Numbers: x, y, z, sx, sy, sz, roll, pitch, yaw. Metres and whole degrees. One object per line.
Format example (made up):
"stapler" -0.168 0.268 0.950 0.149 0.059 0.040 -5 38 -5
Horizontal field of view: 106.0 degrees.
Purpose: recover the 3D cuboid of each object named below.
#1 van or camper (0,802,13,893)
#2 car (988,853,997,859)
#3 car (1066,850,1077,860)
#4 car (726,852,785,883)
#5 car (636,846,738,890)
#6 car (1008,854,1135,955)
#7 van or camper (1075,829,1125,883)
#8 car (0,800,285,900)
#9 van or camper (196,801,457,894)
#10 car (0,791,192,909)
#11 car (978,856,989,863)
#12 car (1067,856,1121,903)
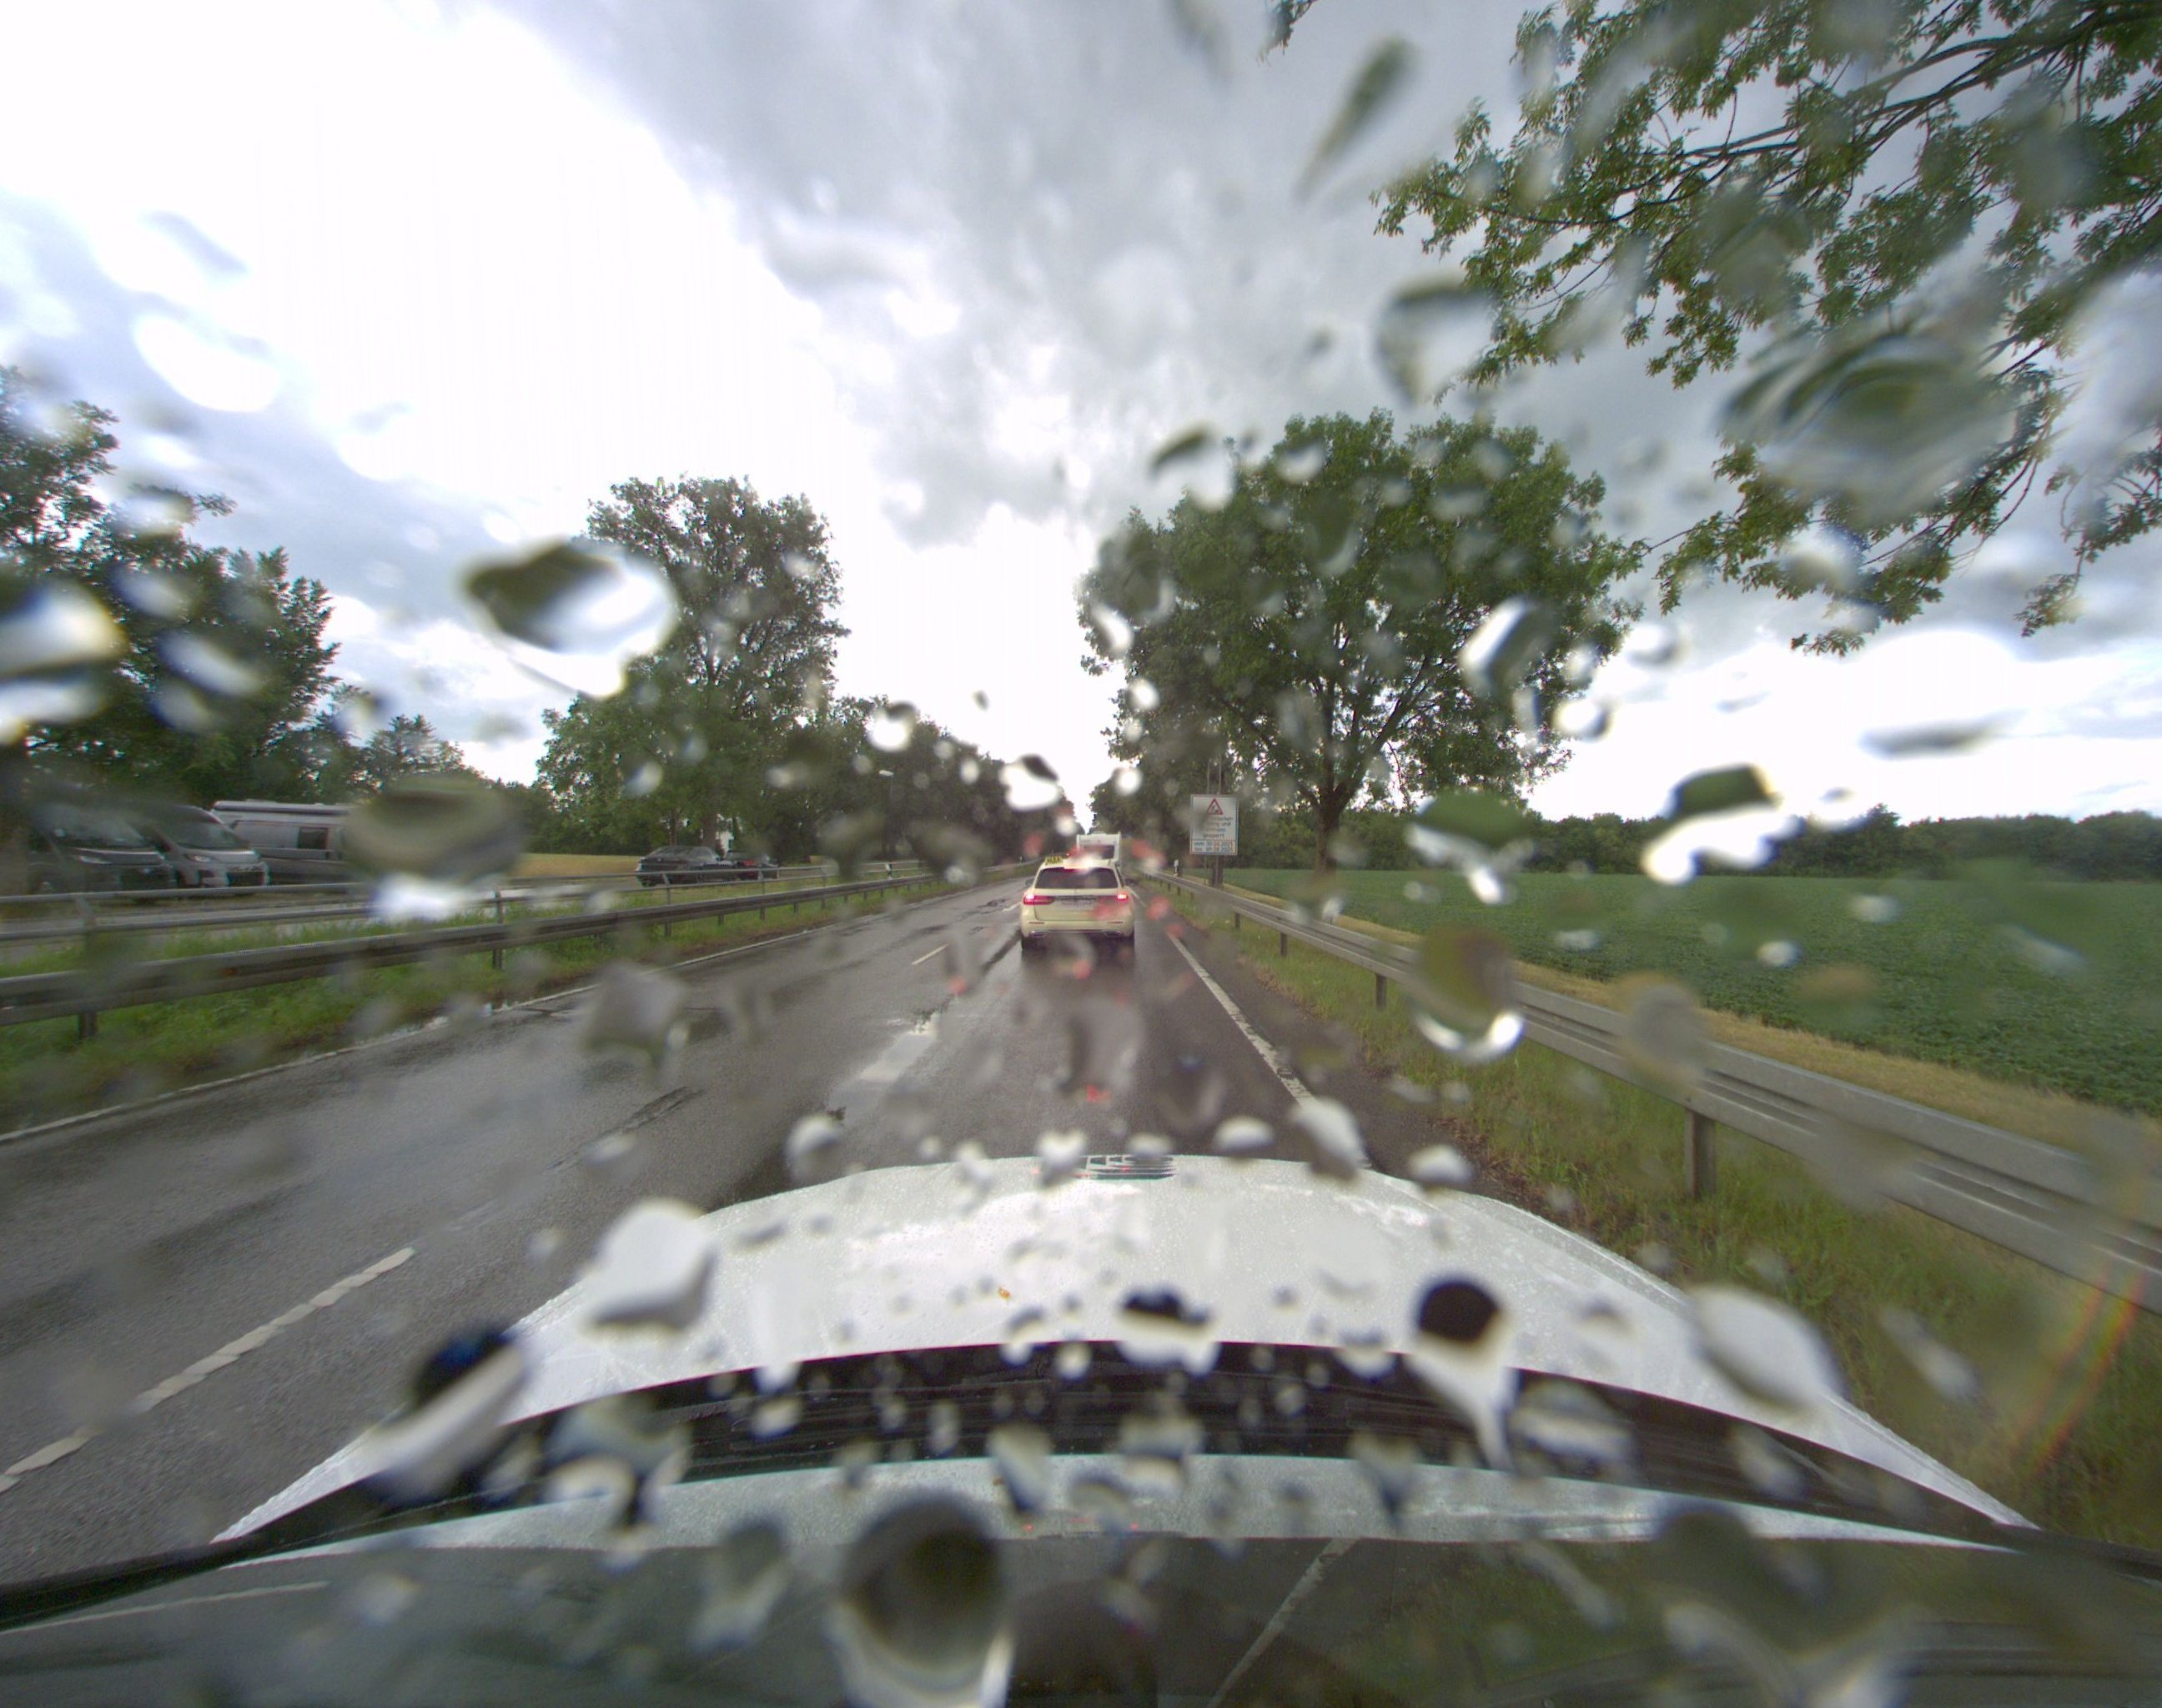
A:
"van or camper" -33.361 -0.235 22.171 5.786 2.590 2.000 1 0 -1
"car" -21.452 0.528 197.039 1.780 1.416 3.999 1 0 0
"car" -1.600 0.142 136.635 1.758 1.619 4.000 -1 0 1
"car" -14.751 0.572 37.117 1.280 1.331 3.894 0 0 -3
"car" -14.598 0.463 30.519 1.512 1.491 5.116 1 0 -3
"car" -0.054 0.745 14.111 1.857 1.476 4.003 -1 0 2
"van or camper" 1.072 0.096 43.245 2.479 2.685 5.704 0 0 2
"car" -24.811 -0.099 21.684 5.078 2.459 1.999 1 0 -2
"van or camper" -23.245 -0.183 25.308 5.863 2.677 2.078 1 0 -4
"car" -23.859 -0.116 18.338 5.172 2.501 1.997 1 0 -4
"car" -22.016 1.182 183.588 1.778 1.416 4.003 1 0 2
"car" 0.493 0.800 27.605 1.657 1.430 4.003 -1 0 2
